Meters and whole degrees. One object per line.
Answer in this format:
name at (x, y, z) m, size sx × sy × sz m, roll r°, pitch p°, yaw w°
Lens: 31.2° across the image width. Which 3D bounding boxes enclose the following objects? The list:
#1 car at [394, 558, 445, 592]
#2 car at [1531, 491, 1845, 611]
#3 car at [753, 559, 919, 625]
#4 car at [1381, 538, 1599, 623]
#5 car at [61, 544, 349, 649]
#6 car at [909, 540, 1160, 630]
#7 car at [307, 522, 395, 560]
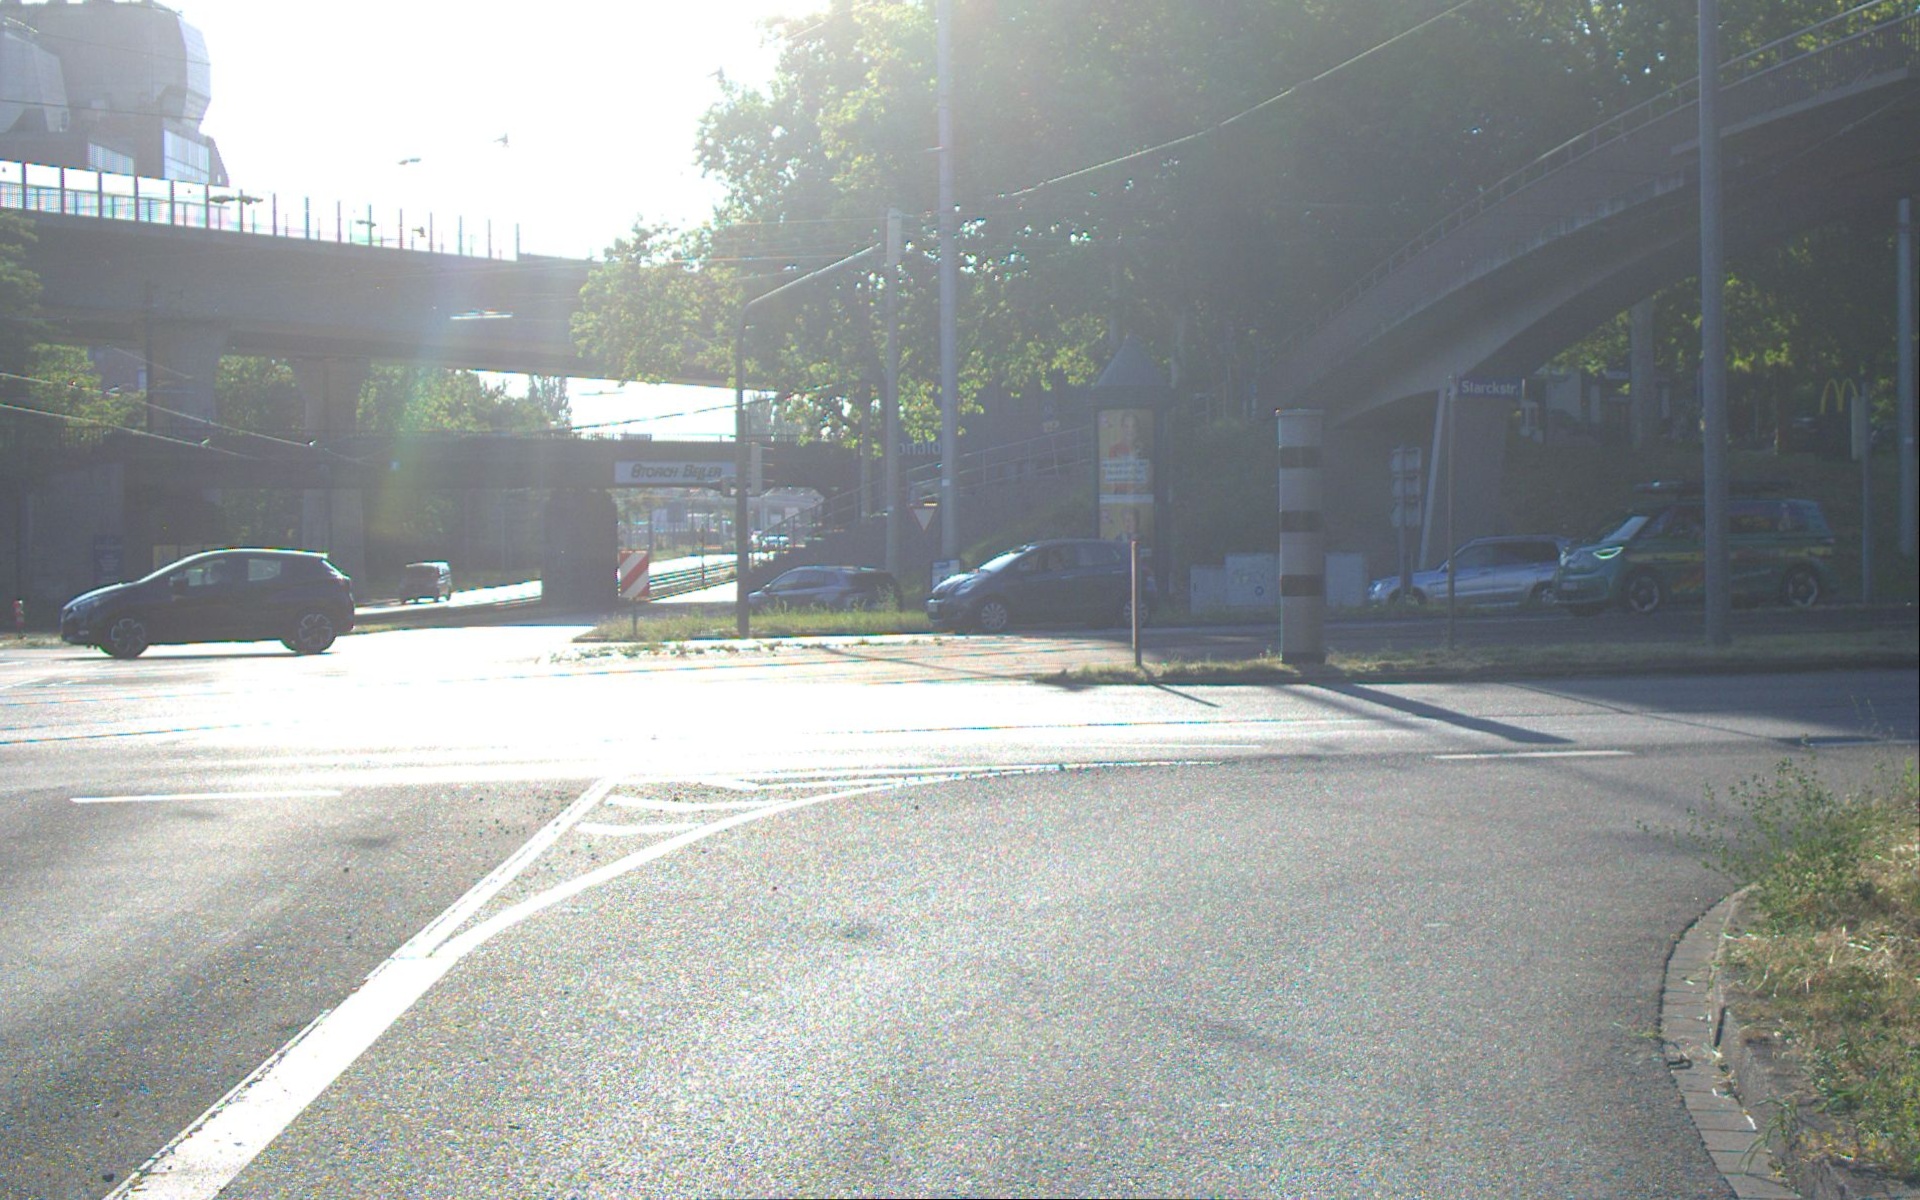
car at (-26.908, -1.250, 171.376) m, size 1.711 × 1.647 × 4.095 m, roll 0°, pitch 1°, yaw 3°
car at (11.870, -0.803, 56.070) m, size 4.688 × 1.899 × 2.001 m, roll 0°, pitch 1°, yaw -22°
car at (-2.789, -0.206, 76.298) m, size 1.691 × 1.417 × 4.151 m, roll 0°, pitch 1°, yaw -35°
car at (10.453, -0.394, 67.943) m, size 4.206 × 1.647 × 1.716 m, roll 0°, pitch 1°, yaw 8°
car at (-10.446, -0.063, 47.525) m, size 3.720 × 1.417 × 1.697 m, roll 0°, pitch 1°, yaw -19°
car at (1.210, -0.256, 55.905) m, size 3.720 × 1.417 × 1.697 m, roll 0°, pitch 1°, yaw -19°
car at (-29.215, -2.828, 164.908) m, size 1.997 × 1.765 × 3.993 m, roll 1°, pitch 1°, yaw 32°
